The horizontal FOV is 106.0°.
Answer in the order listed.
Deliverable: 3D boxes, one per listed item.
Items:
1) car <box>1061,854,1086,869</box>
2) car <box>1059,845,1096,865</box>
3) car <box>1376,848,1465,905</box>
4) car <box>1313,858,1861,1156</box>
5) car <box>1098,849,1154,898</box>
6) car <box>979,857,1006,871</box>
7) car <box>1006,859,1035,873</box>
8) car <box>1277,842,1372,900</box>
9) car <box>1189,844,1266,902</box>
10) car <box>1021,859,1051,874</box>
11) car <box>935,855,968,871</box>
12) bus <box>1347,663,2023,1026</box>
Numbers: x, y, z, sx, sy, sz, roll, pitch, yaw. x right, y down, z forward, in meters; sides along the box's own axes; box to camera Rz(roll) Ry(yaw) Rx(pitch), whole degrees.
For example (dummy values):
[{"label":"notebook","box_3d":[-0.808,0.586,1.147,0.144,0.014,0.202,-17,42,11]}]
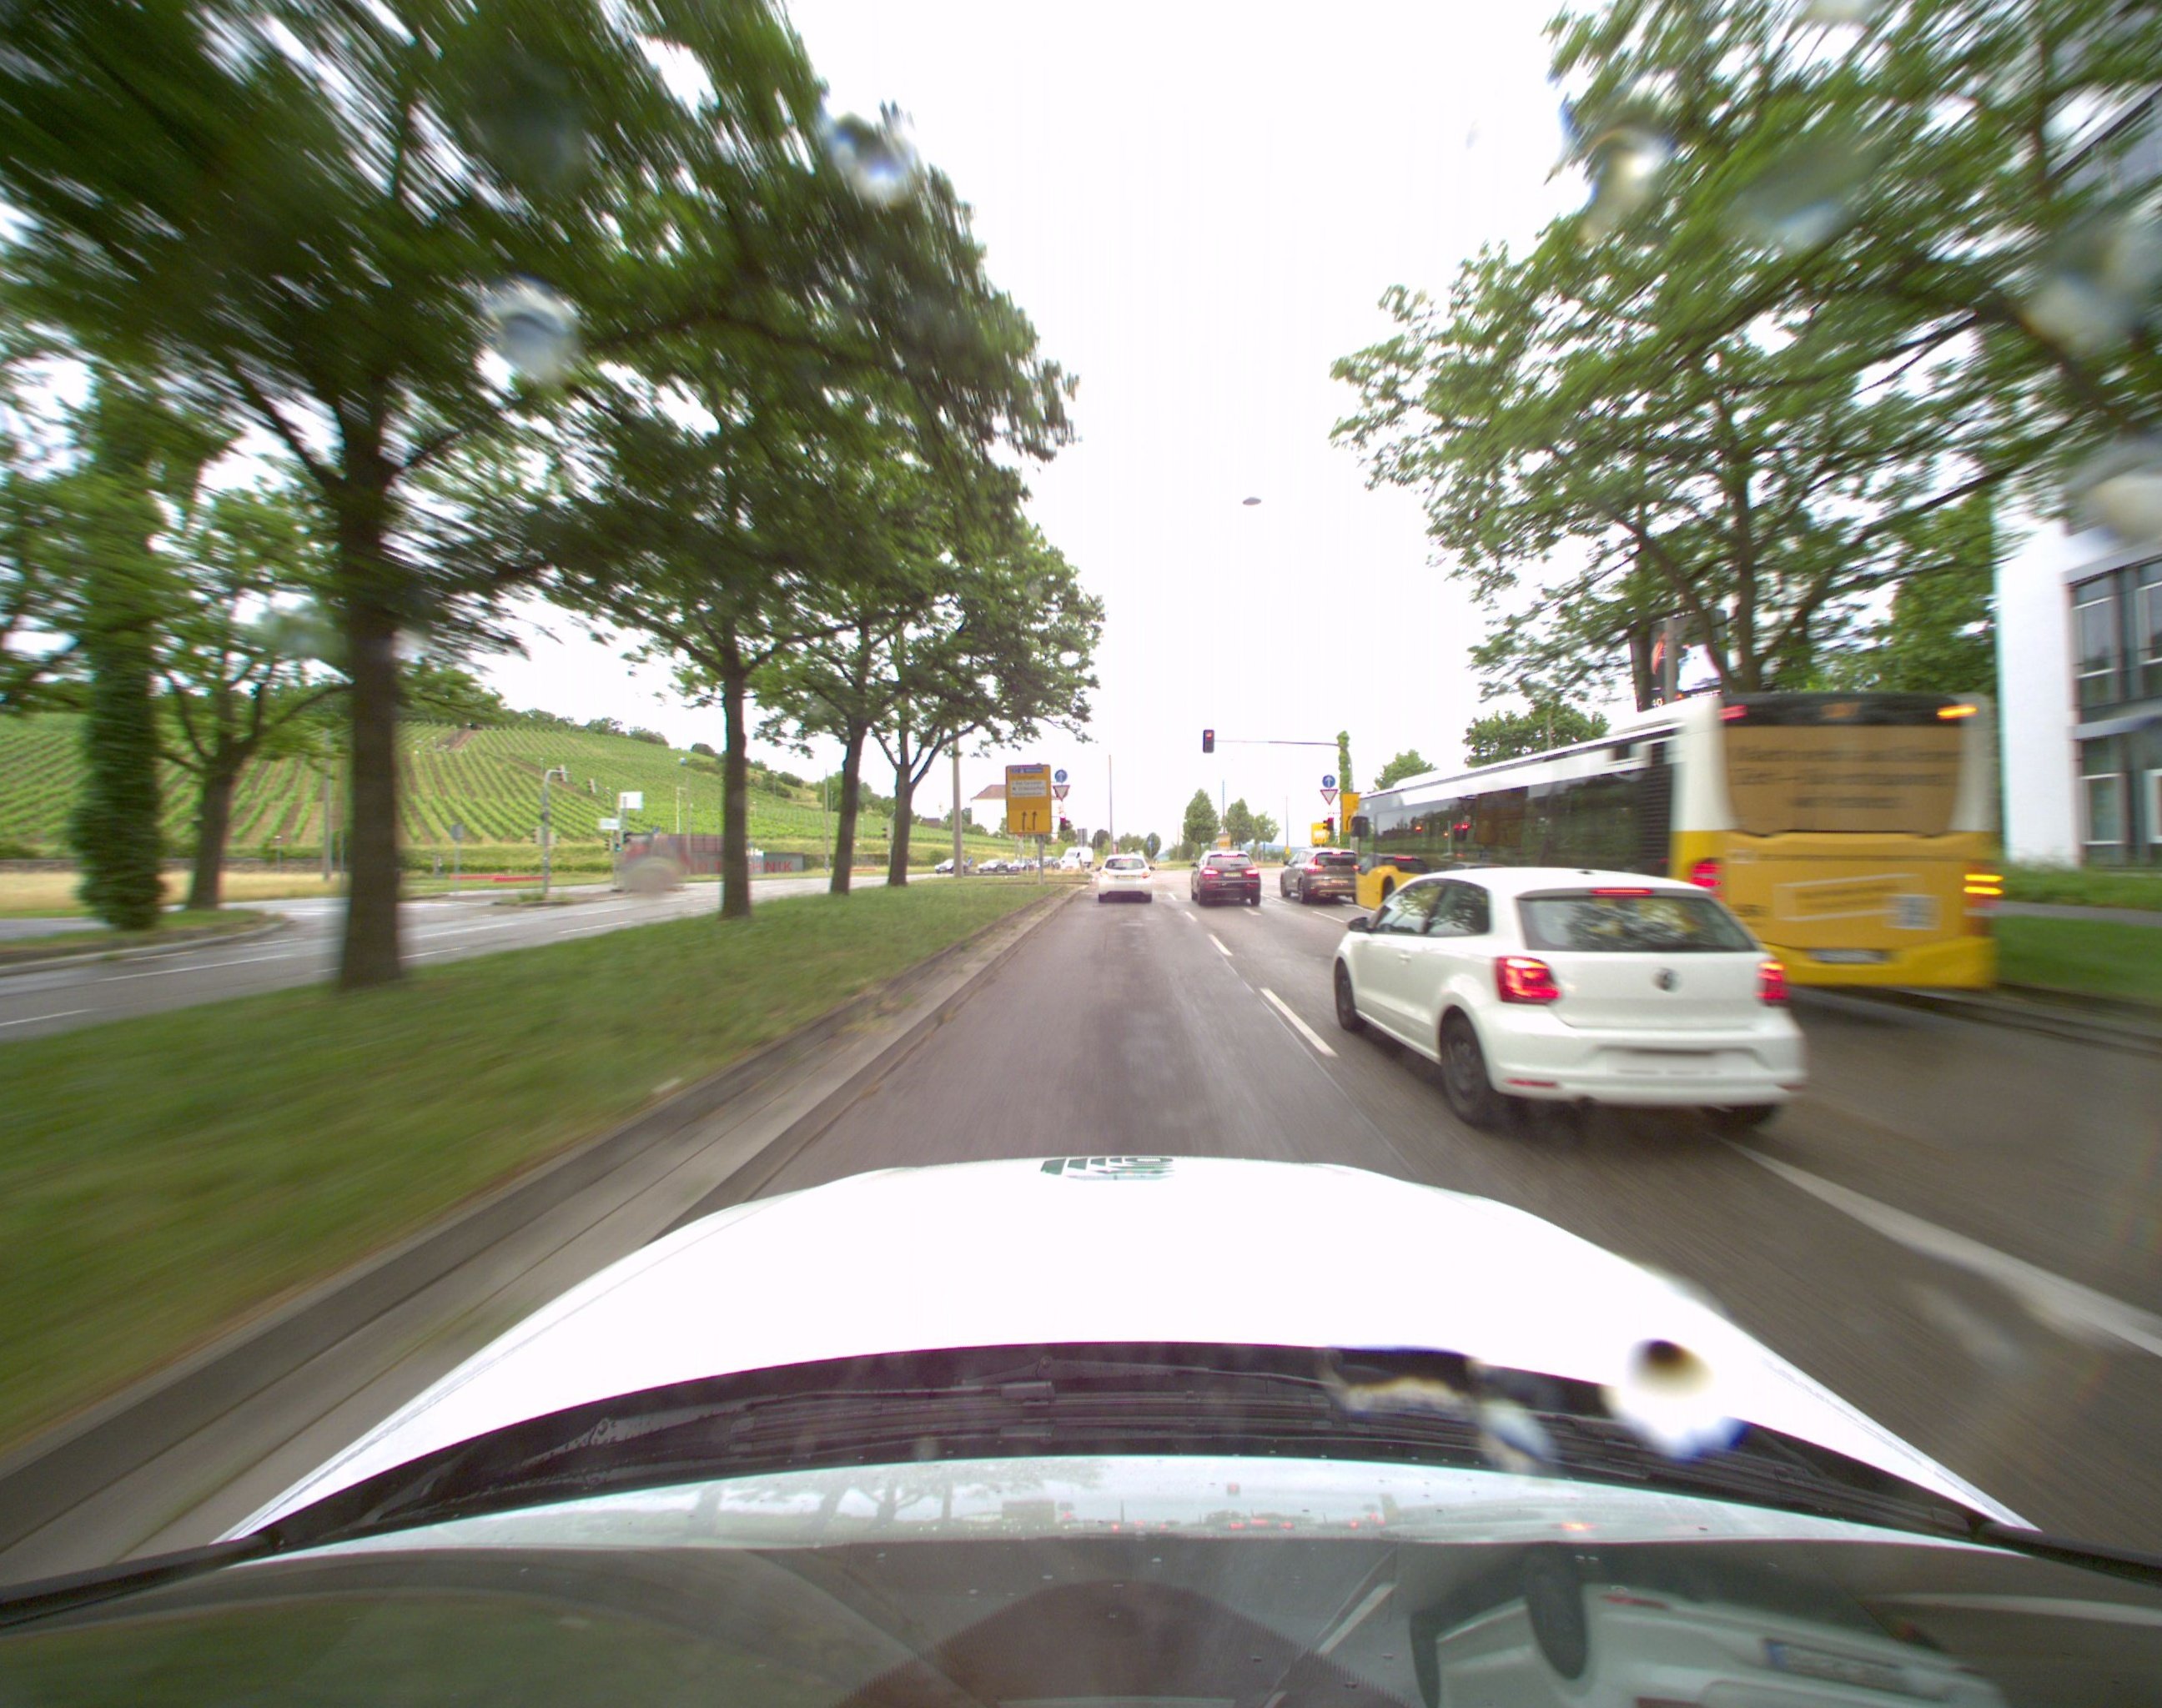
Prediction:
[{"label":"car","box_3d":[-0.687,0.766,81.751,1.765,1.425,4.385,-1,-1,9]},{"label":"car","box_3d":[-0.446,0.147,104.591,1.975,2.559,6.207,0,-1,29]},{"label":"car","box_3d":[10.214,0.645,24.327,1.847,1.498,4.177,-3,-2,30]},{"label":"car","box_3d":[3.033,0.763,5.916,1.734,1.432,3.813,1,0,2]},{"label":"car","box_3d":[1.488,0.597,26.687,1.710,1.489,4.004,0,0,3]},{"label":"car","box_3d":[-9.061,1.077,83.432,1.775,1.395,3.892,0,-1,10]},{"label":"car","box_3d":[-6.019,1.228,81.302,1.773,1.395,3.896,0,-1,14]},{"label":"car","box_3d":[7.557,0.468,25.769,1.857,1.674,4.569,0,1,3]},{"label":"car","box_3d":[4.388,0.557,24.974,1.876,1.595,4.117,1,0,4]},{"label":"car","box_3d":[-4.802,1.300,87.251,1.888,1.489,4.910,0,0,14]},{"label":"car","box_3d":[-12.993,0.906,81.873,1.818,1.623,4.579,1,0,10]},{"label":"bus","box_3d":[7.241,-0.157,13.207,2.715,3.152,12.160,1,1,4]}]
